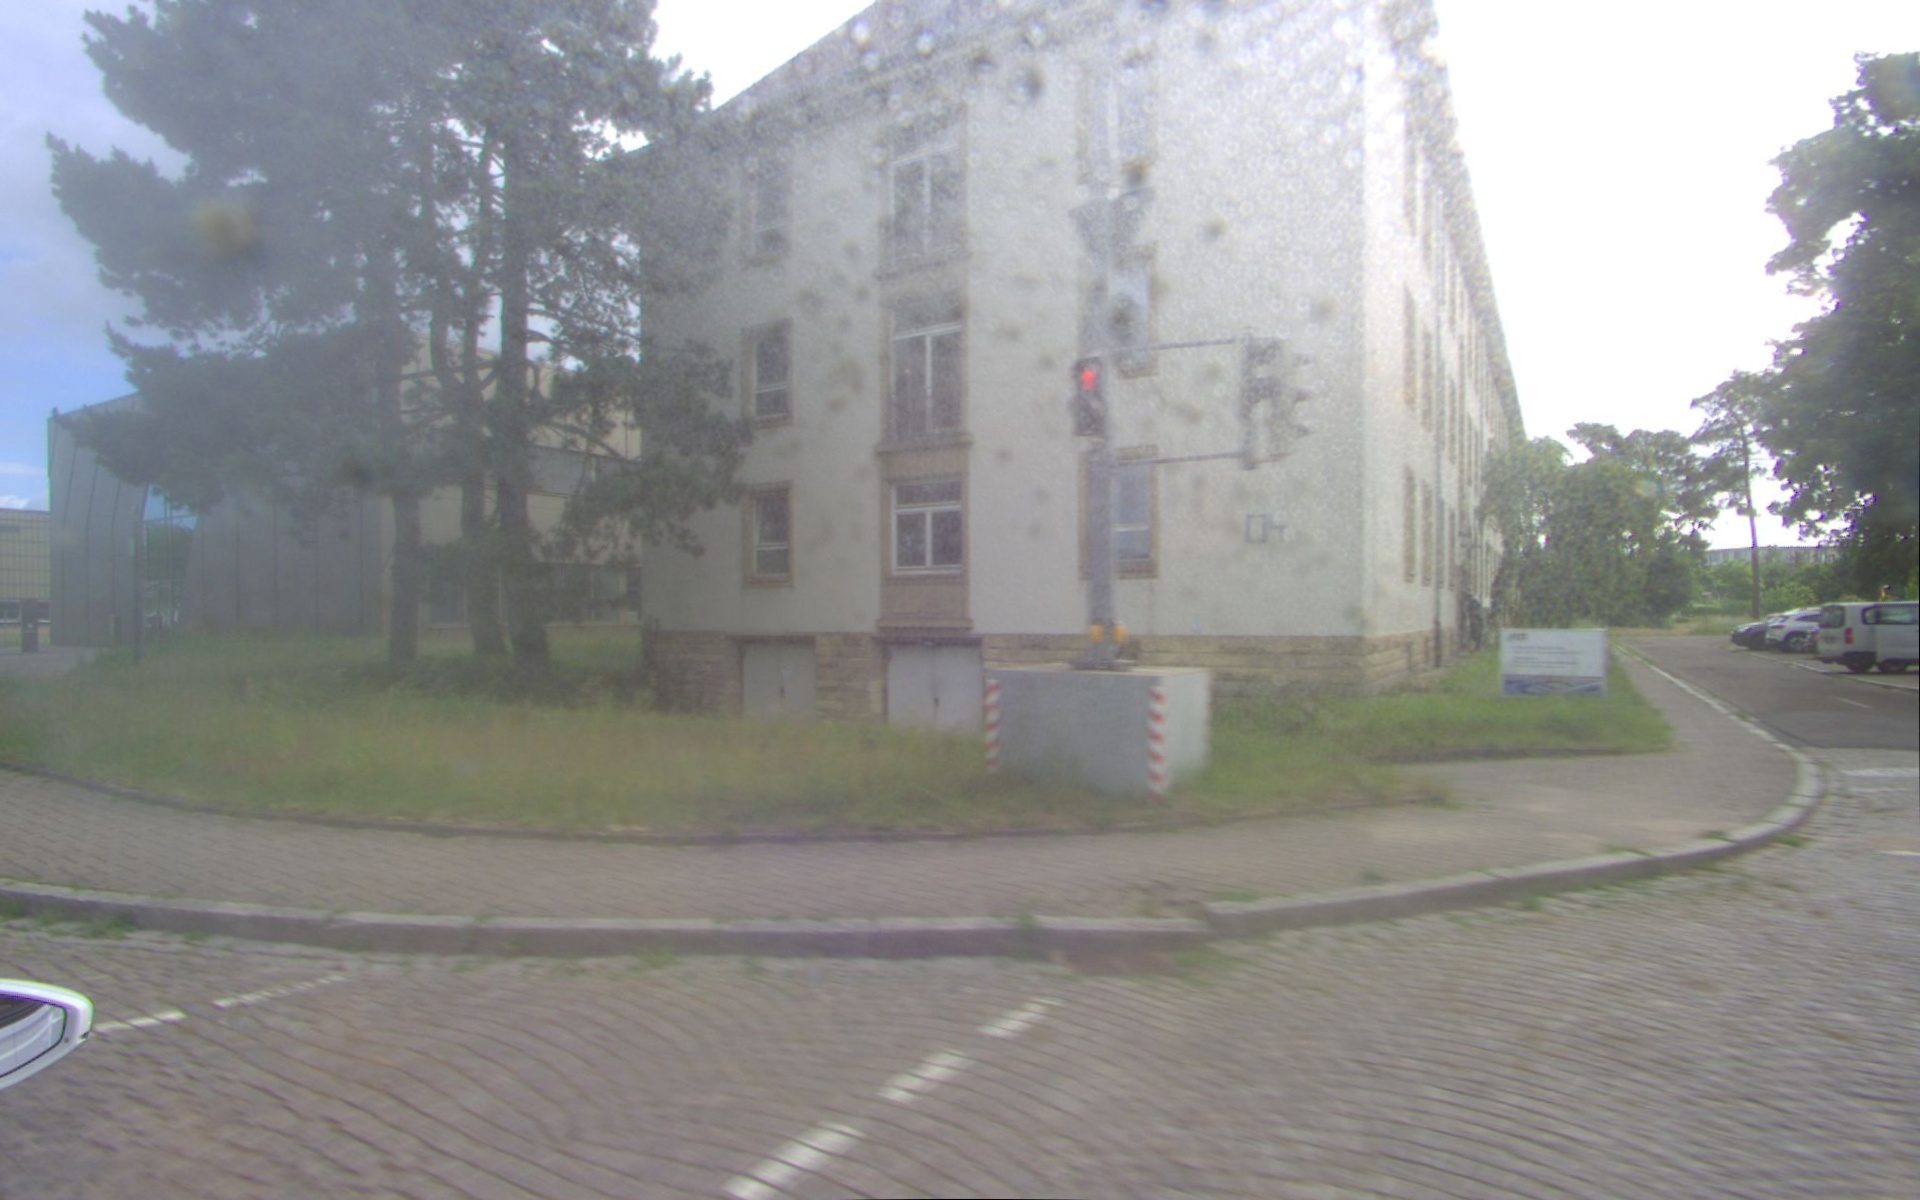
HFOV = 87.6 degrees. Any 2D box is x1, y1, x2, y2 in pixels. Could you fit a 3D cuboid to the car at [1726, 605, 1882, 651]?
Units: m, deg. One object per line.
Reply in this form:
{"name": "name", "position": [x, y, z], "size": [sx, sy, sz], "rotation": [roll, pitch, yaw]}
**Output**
{"name": "car", "position": [34.401, 1.113, 40.999], "size": [4.628, 1.796, 1.990], "rotation": [0, -1, 32]}

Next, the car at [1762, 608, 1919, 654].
{"name": "car", "position": [33.355, 1.138, 37.893], "size": [4.452, 1.639, 1.990], "rotation": [0, -1, 32]}

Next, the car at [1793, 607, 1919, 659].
{"name": "car", "position": [30.320, 1.067, 33.157], "size": [3.943, 1.639, 1.990], "rotation": [0, -1, 32]}

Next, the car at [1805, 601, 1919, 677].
{"name": "car", "position": [25.668, 1.015, 26.296], "size": [4.774, 1.935, 2.237], "rotation": [0, 0, 16]}
